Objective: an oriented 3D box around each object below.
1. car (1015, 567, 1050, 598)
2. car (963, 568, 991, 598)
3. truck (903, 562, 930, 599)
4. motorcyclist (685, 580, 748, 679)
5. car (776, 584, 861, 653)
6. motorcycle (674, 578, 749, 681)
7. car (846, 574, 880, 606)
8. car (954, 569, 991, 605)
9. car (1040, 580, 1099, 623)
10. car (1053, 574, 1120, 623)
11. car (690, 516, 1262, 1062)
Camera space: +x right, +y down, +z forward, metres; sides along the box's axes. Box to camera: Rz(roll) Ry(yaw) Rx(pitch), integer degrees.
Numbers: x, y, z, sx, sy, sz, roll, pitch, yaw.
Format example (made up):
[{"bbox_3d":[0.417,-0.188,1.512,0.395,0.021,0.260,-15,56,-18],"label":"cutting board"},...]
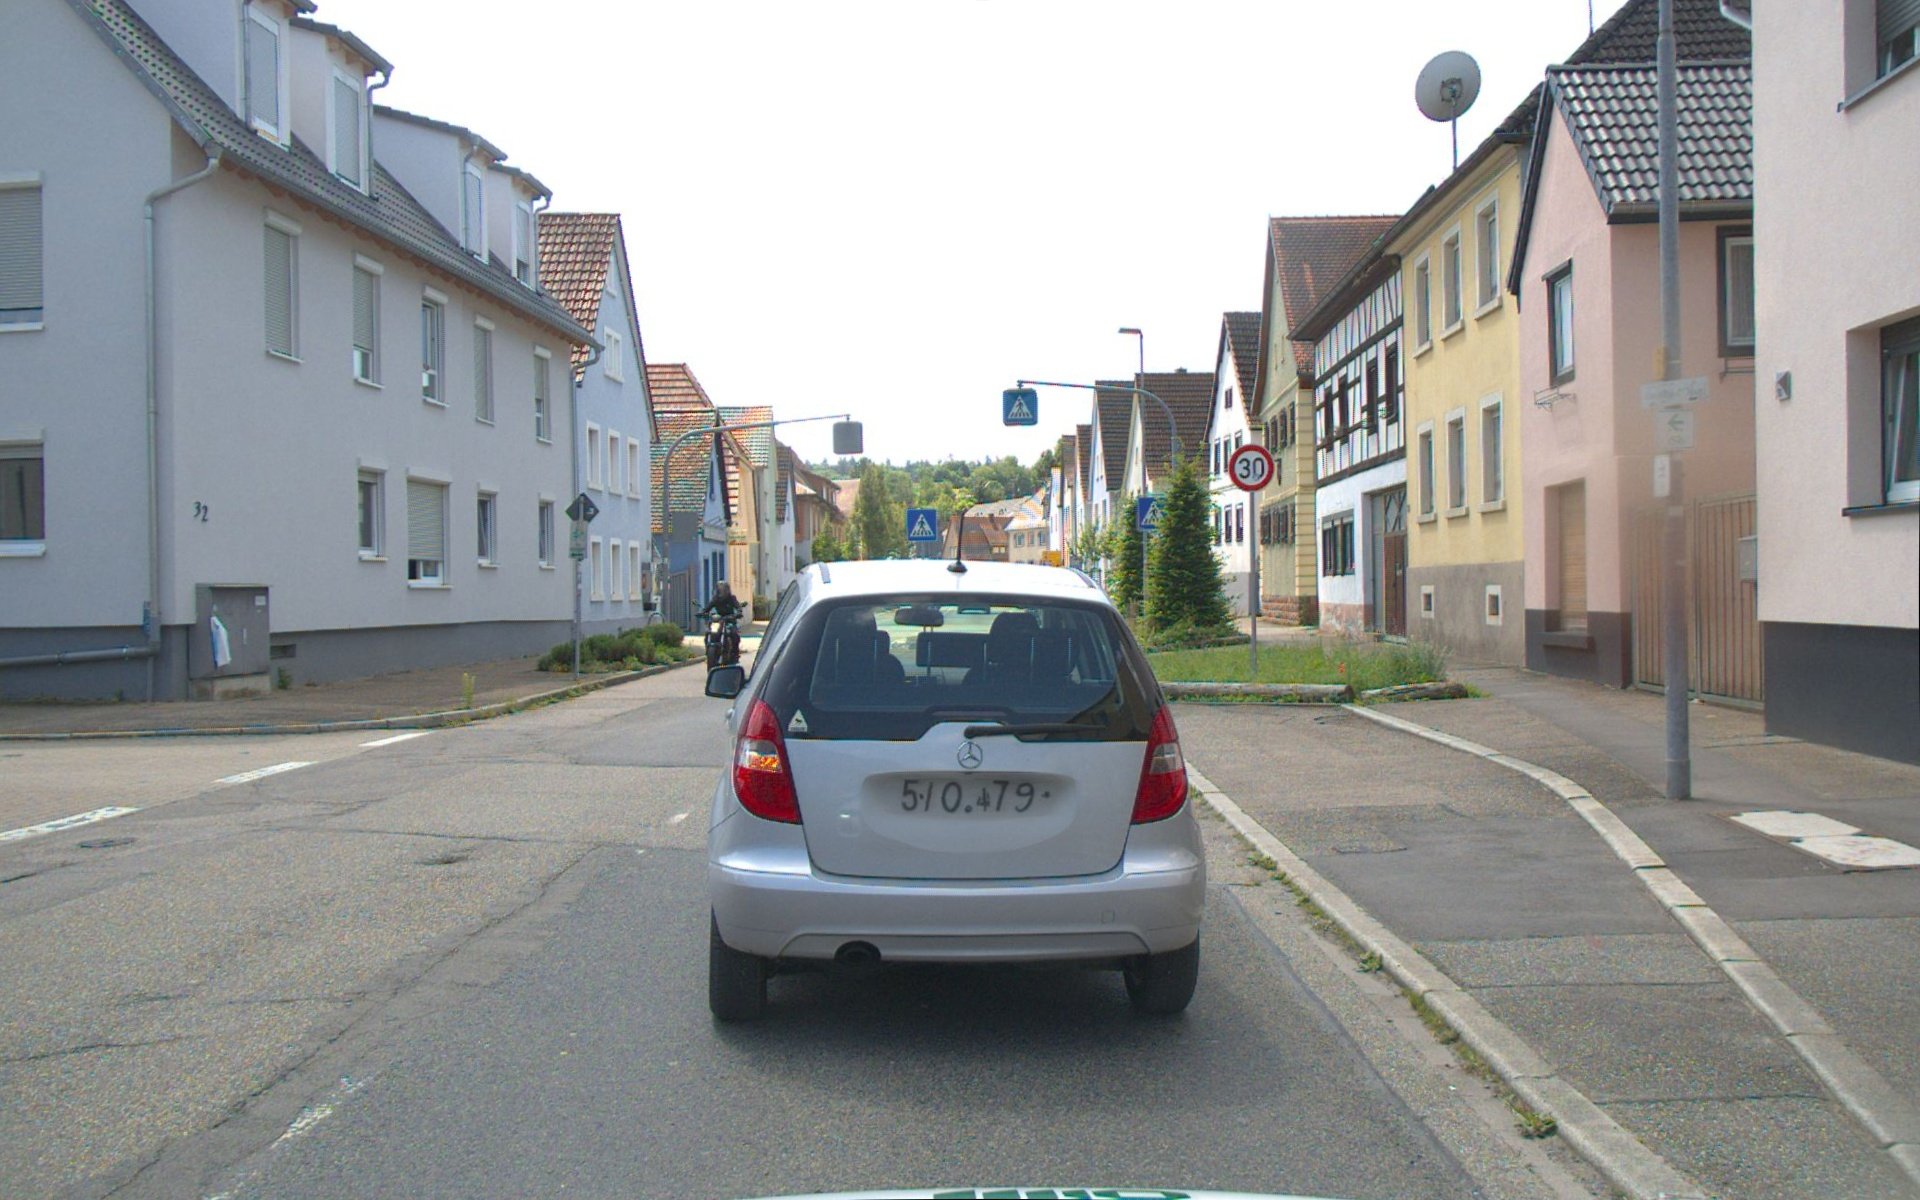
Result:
[{"bbox_3d":[4.618,-1.101,105.963,1.953,1.848,3.998,0,-1,-1],"label":"car"},{"bbox_3d":[1.223,-1.255,121.237,1.953,2.049,3.999,0,-1,0],"label":"car"},{"bbox_3d":[-3.308,-1.414,126.172,1.953,2.581,6.737,0,-1,-1],"label":"truck"},{"bbox_3d":[-3.940,0.463,26.786,0.878,1.582,0.807,0,1,2],"label":"motorcyclist"},{"bbox_3d":[-3.490,0.491,41.356,1.468,1.567,3.858,3,-1,4],"label":"car"},{"bbox_3d":[-3.958,0.443,26.507,0.862,1.588,1.968,0,1,1],"label":"motorcycle"},{"bbox_3d":[-5.346,-0.529,91.651,1.633,1.624,3.999,0,-1,0],"label":"car"},{"bbox_3d":[0.666,-0.679,91.470,1.953,1.848,3.998,0,-1,-1],"label":"car"},{"bbox_3d":[4.081,0.099,62.367,1.953,1.534,3.999,0,-1,0],"label":"car"},{"bbox_3d":[4.206,-0.023,55.712,1.953,1.534,3.999,0,-1,0],"label":"car"},{"bbox_3d":[-0.150,0.598,7.033,1.776,1.672,3.723,1,0,-7],"label":"car"}]
